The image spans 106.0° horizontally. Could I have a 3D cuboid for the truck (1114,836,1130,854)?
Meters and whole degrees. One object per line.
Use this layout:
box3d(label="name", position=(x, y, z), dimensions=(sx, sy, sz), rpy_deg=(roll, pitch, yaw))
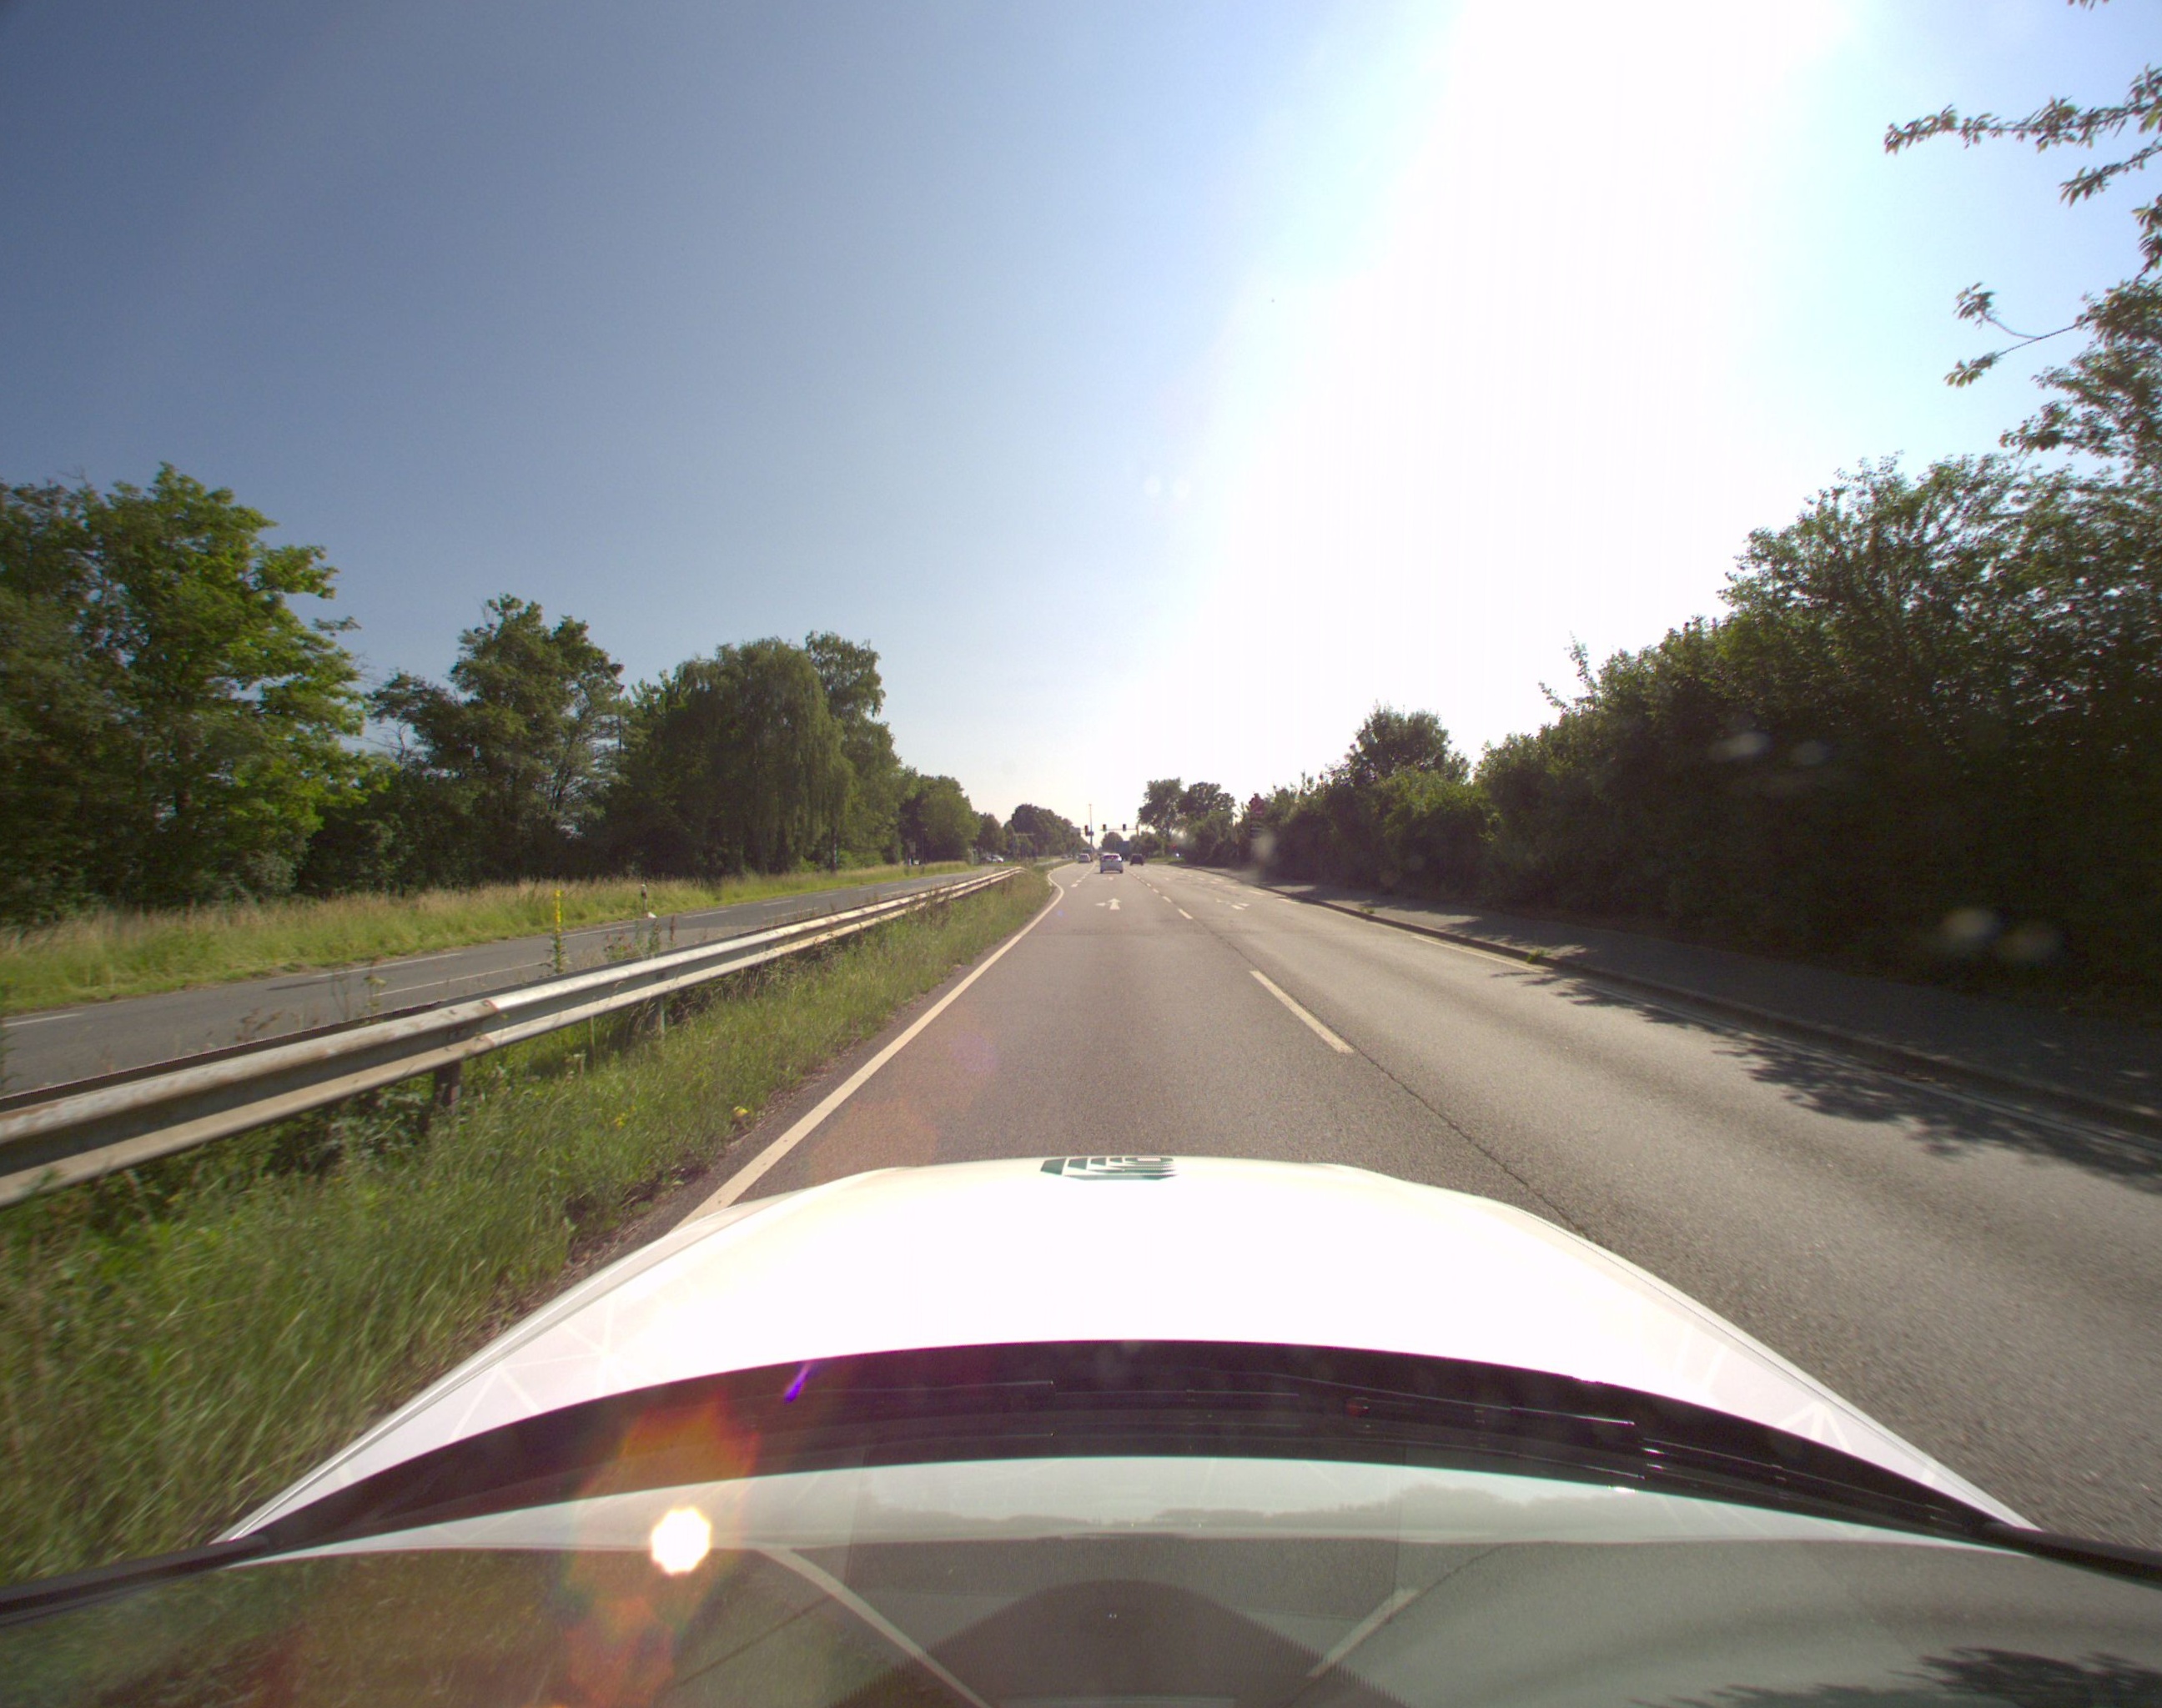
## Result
box3d(label="truck", position=(8.028, -1.700, 160.655), dimensions=(2.881, 3.428, 9.173), rpy_deg=(-2, 0, 2))

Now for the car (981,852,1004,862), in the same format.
box3d(label="car", position=(-19.000, 0.733, 175.146), dimensions=(4.595, 1.950, 2.013), rpy_deg=(-2, 0, 36))

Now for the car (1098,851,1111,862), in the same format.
box3d(label="car", position=(2.817, 0.314, 98.701), dimensions=(1.566, 1.414, 3.278), rpy_deg=(0, 0, 2))

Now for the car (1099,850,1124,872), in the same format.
box3d(label="car", position=(2.310, 0.484, 61.252), dimensions=(1.792, 1.552, 4.003), rpy_deg=(-1, 1, 2))

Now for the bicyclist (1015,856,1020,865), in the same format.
box3d(label="bicyclist", position=(-11.585, 1.174, 148.322), dimensions=(0.842, 1.517, 0.748), rpy_deg=(-1, 0, 6))

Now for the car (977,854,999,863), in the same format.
box3d(label="car", position=(-19.593, 0.913, 171.712), dimensions=(4.212, 1.606, 2.018), rpy_deg=(-2, 0, 37))

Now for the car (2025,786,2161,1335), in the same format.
box3d(label="car", position=(4.170, 0.644, 0.500), dimensions=(1.894, 1.680, 4.686), rpy_deg=(0, 0, 2))

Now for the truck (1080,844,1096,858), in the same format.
box3d(label="truck", position=(1.215, -0.507, 136.625), dimensions=(2.364, 2.389, 6.044), rpy_deg=(0, 1, 2))

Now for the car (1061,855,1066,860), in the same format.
box3d(label="car", position=(-5.259, 1.157, 246.104), dimensions=(1.480, 1.414, 3.763), rpy_deg=(-4, 0, 2))

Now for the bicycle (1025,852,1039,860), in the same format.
box3d(label="bicycle", position=(-10.803, 0.520, 179.170), dimensions=(2.765, 1.670, 1.143), rpy_deg=(-2, 0, 28))

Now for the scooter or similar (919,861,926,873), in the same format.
box3d(label="scooter or similar", position=(-16.068, 1.321, 82.698), dimensions=(0.366, 1.186, 1.341), rpy_deg=(-3, 0, 2))

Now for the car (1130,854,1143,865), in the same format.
box3d(label="car", position=(6.938, 0.696, 101.942), dimensions=(1.566, 1.414, 3.278), rpy_deg=(-1, -1, 2))

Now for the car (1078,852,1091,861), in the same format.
box3d(label="car", position=(0.617, 0.398, 127.761), dimensions=(1.804, 1.464, 4.975), rpy_deg=(0, 0, 3))
